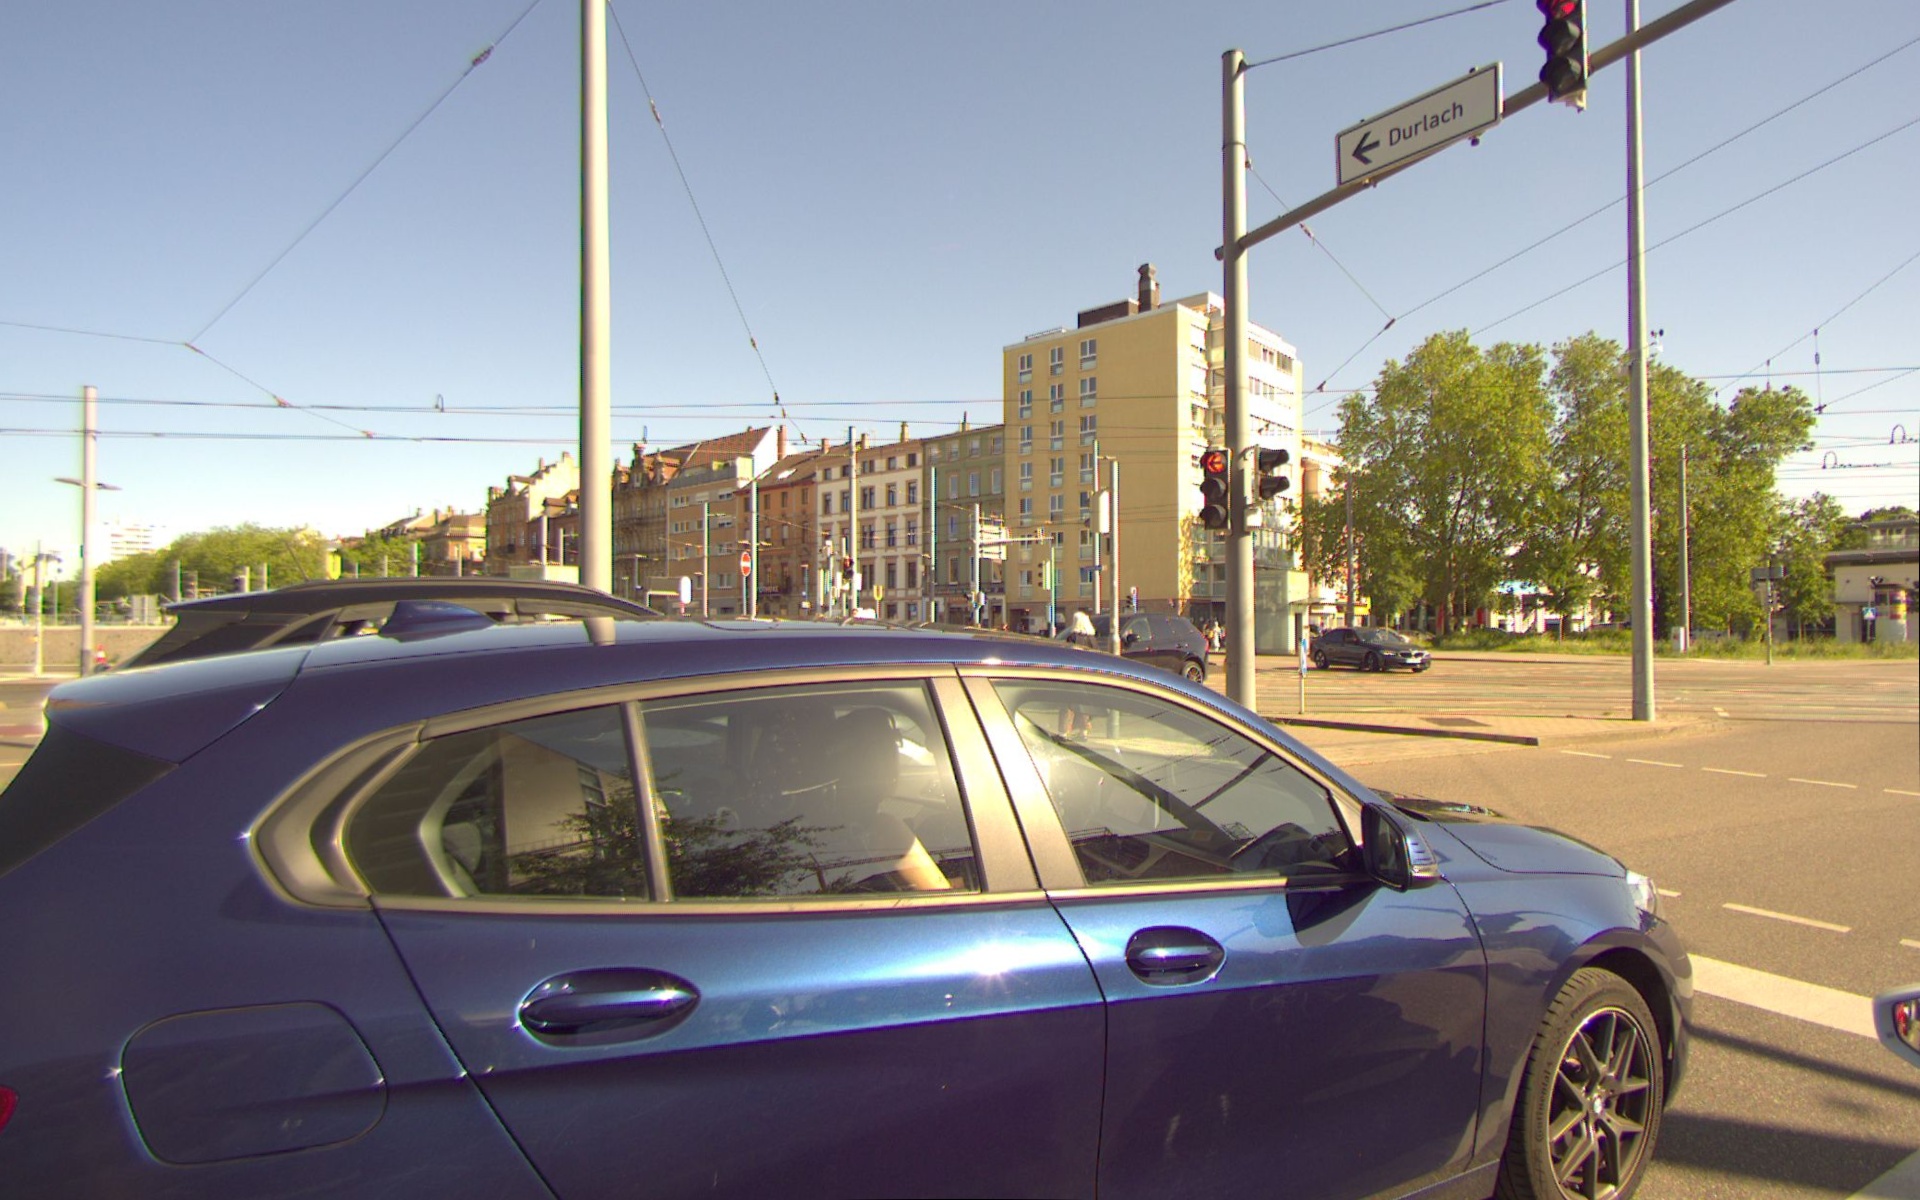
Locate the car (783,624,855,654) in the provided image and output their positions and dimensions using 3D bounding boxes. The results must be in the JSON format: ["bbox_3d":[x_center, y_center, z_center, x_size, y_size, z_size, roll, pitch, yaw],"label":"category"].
[{"bbox_3d":[-8.220,2.266,58.441,4.246,1.675,1.848,-1,-2,42],"label":"car"}]

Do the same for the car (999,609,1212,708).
[{"bbox_3d":[2.826,1.051,19.048,4.040,1.681,1.848,1,-2,-41],"label":"car"}]

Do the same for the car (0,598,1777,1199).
[{"bbox_3d":[0.125,0.772,2.542,3.984,1.464,1.703,1,0,-30],"label":"car"}]

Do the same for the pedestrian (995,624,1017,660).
[{"bbox_3d":[2.078,1.890,45.246,0.669,1.593,0.740,1,-2,-45],"label":"pedestrian"}]

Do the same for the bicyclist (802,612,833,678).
[{"bbox_3d":[-3.709,1.163,26.137,0.668,1.676,0.781,0,-1,-20],"label":"bicyclist"}]

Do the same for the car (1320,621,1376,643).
[{"bbox_3d":[29.869,2.470,77.310,3.691,1.684,1.586,-1,-2,42],"label":"car"}]

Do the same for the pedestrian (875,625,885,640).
[{"bbox_3d":[-6.414,2.633,80.879,0.739,1.220,0.422,-1,-2,42],"label":"pedestrian"}]

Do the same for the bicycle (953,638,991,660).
[{"bbox_3d":[0.549,2.247,46.223,1.666,0.958,0.614,1,-1,-30],"label":"bicycle"}]

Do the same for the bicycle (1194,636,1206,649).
[{"bbox_3d":[15.024,2.656,62.777,0.451,0.790,1.808,-1,-2,23],"label":"bicycle"}]

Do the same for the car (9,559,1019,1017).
[{"bbox_3d":[-1.842,0.668,5.095,3.959,1.537,1.751,1,-1,-28],"label":"car"}]

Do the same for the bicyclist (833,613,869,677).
[{"bbox_3d":[-2.900,1.180,26.660,0.672,1.676,0.777,1,-1,-35],"label":"bicyclist"}]

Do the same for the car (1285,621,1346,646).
[{"bbox_3d":[24.399,2.311,68.995,3.691,1.684,1.586,-1,-2,42],"label":"car"}]

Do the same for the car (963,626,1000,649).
[{"bbox_3d":[1.378,2.488,67.002,1.745,1.446,3.873,0,-2,-10],"label":"car"}]

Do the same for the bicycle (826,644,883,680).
[{"bbox_3d":[-2.806,1.617,26.489,0.672,0.890,1.880,1,-2,-35],"label":"bicycle"}]

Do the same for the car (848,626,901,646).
[{"bbox_3d":[-6.298,2.649,74.456,1.749,1.446,3.863,-1,-2,39],"label":"car"}]

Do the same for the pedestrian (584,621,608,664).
[{"bbox_3d":[-14.729,1.709,40.643,0.672,1.735,0.793,1,-1,-38],"label":"pedestrian"}]

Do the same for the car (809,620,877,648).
[{"bbox_3d":[-7.264,2.068,62.149,4.244,1.675,1.849,-1,-2,40],"label":"car"}]

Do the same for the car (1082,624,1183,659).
[{"bbox_3d":[7.549,1.796,44.133,4.118,1.457,1.718,-1,-2,43],"label":"car"}]

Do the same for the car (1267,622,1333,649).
[{"bbox_3d":[21.579,2.226,63.802,3.691,1.684,1.586,-1,-2,42],"label":"car"}]

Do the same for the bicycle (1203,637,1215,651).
[{"bbox_3d":[15.190,2.698,61.180,0.478,0.822,1.612,-1,-2,23],"label":"bicycle"}]

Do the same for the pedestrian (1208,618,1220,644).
[{"bbox_3d":[15.505,1.895,61.329,0.701,1.581,0.557,0,-1,19],"label":"pedestrian"}]

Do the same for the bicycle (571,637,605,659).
[{"bbox_3d":[-16.081,2.072,43.376,0.674,0.890,1.873,1,-2,-44],"label":"bicycle"}]

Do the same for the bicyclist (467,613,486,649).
[{"bbox_3d":[-23.657,1.506,49.161,0.674,1.735,0.610,1,-2,-44],"label":"bicyclist"}]

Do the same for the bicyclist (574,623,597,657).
[{"bbox_3d":[-16.242,1.732,43.565,0.674,1.474,0.775,1,-2,-44],"label":"bicyclist"}]

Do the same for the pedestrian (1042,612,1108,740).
[{"bbox_3d":[1.438,0.939,12.602,0.749,1.575,0.356,1,-1,-20],"label":"pedestrian"}]

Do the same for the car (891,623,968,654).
[{"bbox_3d":[-1.753,2.161,56.475,4.246,1.675,1.848,-1,-2,42],"label":"car"}]

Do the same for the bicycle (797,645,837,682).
[{"bbox_3d":[-3.739,1.642,26.161,0.668,0.890,1.890,0,-2,-20],"label":"bicycle"}]

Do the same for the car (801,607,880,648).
[{"bbox_3d":[-8.394,1.906,70.078,5.838,2.780,2.133,-1,-2,42],"label":"car"}]

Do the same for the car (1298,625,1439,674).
[{"bbox_3d":[13.524,1.611,33.574,1.836,1.521,4.548,1,-2,-20],"label":"car"}]

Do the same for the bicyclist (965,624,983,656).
[{"bbox_3d":[0.636,1.841,46.289,0.609,1.462,0.614,1,-1,-30],"label":"bicyclist"}]

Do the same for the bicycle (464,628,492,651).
[{"bbox_3d":[-23.632,1.928,49.222,0.674,1.120,1.874,1,-2,-44],"label":"bicycle"}]
